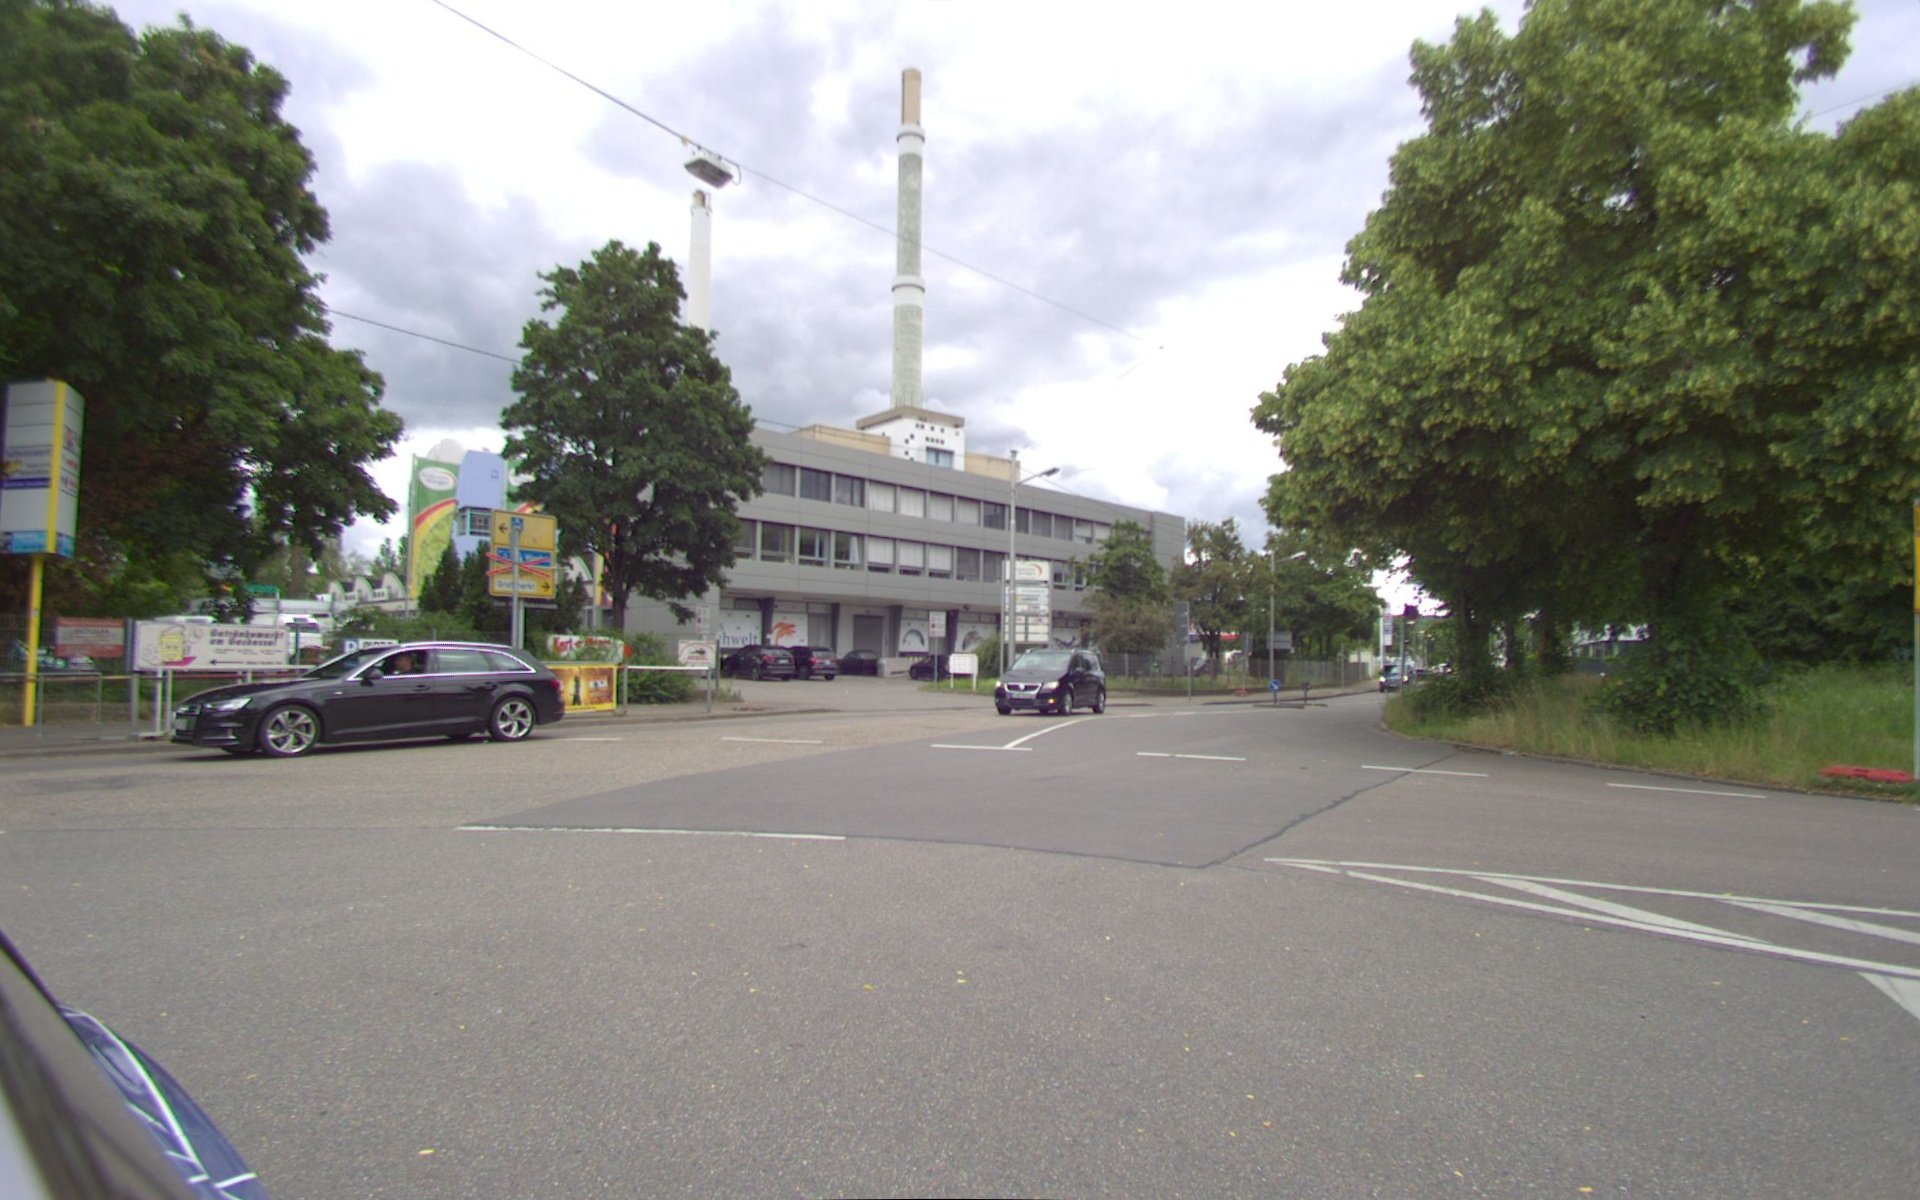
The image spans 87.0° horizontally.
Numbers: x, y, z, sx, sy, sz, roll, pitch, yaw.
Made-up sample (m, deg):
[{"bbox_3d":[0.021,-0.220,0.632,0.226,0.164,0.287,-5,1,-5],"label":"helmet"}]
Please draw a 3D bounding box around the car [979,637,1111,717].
[{"bbox_3d":[2.177,1.909,24.697,1.823,1.785,4.192,-2,-6,26],"label":"car"}]

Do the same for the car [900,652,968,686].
[{"bbox_3d":[-1.441,3.726,55.000,1.723,1.564,3.614,-1,0,-43],"label":"car"}]

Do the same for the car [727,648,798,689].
[{"bbox_3d":[-9.539,3.264,48.753,1.751,1.691,3.576,-1,0,-43],"label":"car"}]

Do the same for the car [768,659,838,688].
[{"bbox_3d":[-7.860,3.635,50.545,1.751,1.187,3.576,-1,0,-43],"label":"car"}]

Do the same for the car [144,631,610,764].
[{"bbox_3d":[-7.674,1.273,13.912,1.997,1.468,5.156,-3,-5,37],"label":"car"}]

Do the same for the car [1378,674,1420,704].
[{"bbox_3d":[30.671,6.195,70.637,1.828,1.960,4.746,-2,-4,34],"label":"car"}]
